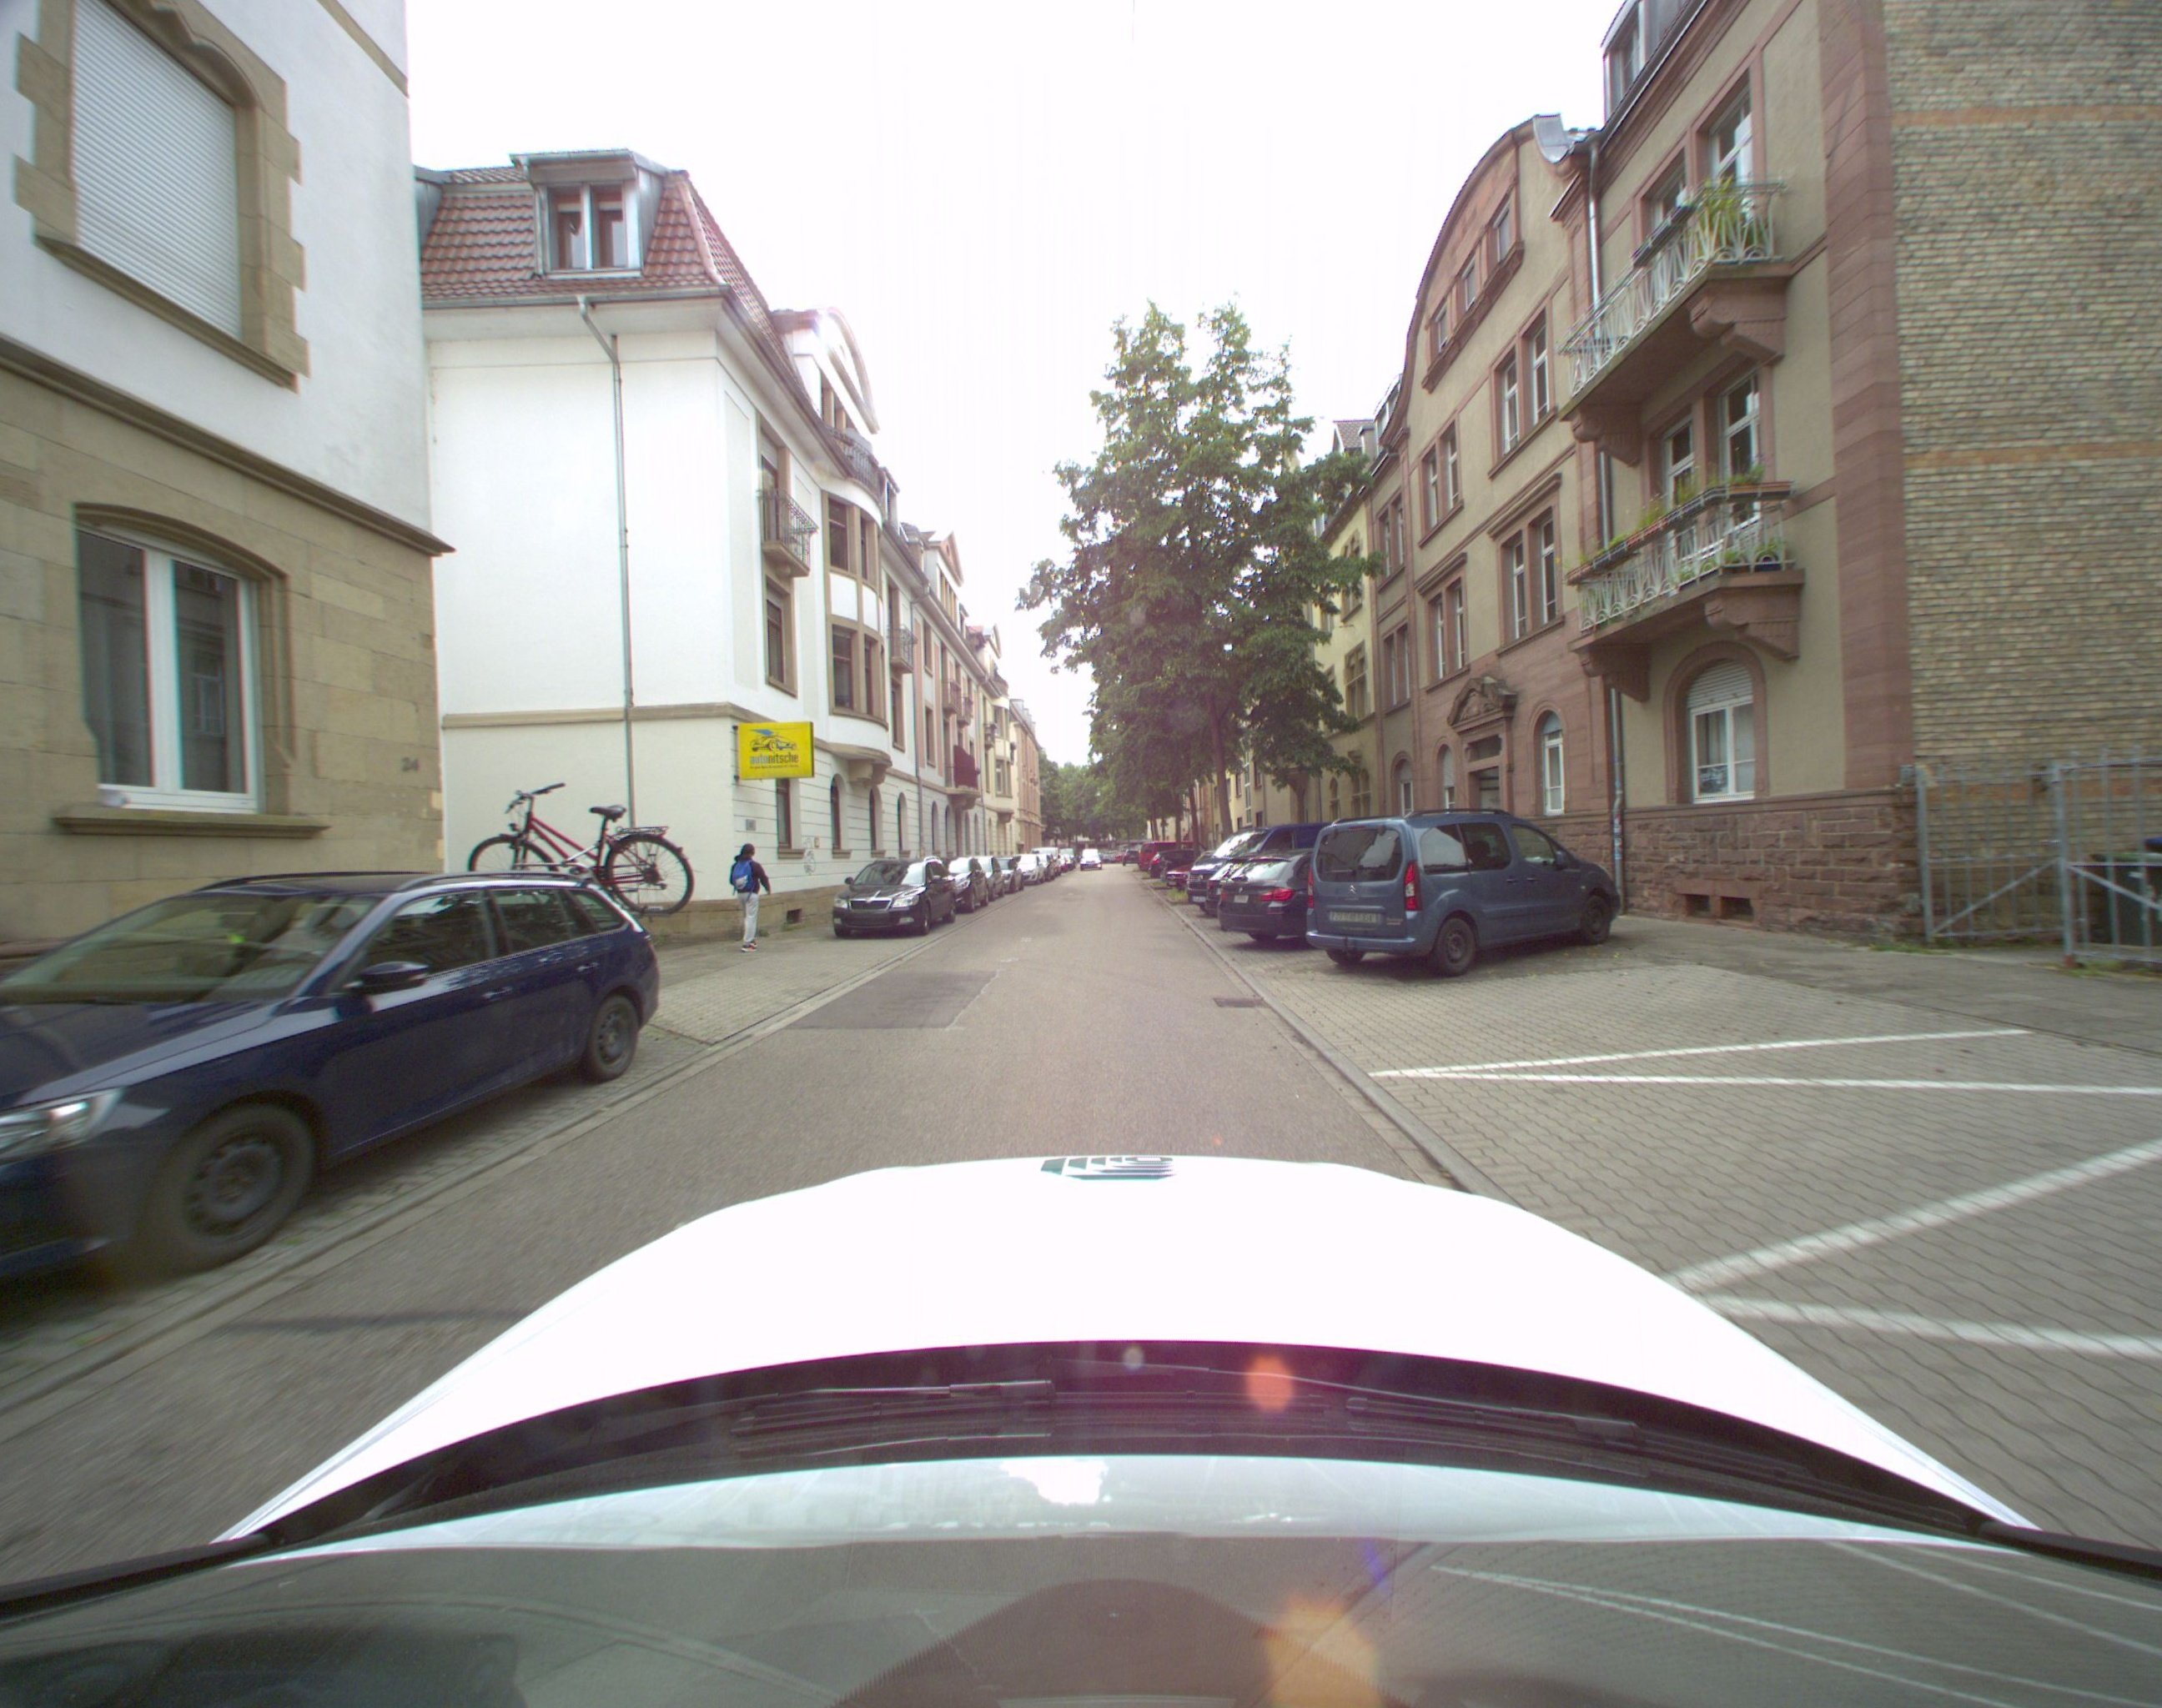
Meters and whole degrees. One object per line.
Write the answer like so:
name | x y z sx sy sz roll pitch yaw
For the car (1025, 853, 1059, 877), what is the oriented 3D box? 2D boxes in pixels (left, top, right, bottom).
car | -2.383 0.646 50.795 1.779 1.444 3.890 0 0 2

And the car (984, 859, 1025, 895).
car | -2.963 0.847 31.903 1.205 1.309 3.261 0 0 1

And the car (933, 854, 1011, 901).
car | -3.558 0.730 27.319 1.940 1.403 4.001 1 0 1

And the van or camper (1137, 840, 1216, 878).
van or camper | 5.472 0.284 46.656 4.168 2.085 1.936 0 0 -26

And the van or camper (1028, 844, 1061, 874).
van or camper | -2.405 0.330 55.084 1.874 1.967 4.410 0 0 2

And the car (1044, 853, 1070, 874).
car | -1.993 0.774 68.495 1.779 1.455 3.890 -6 0 2

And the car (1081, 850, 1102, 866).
car | 1.127 0.391 83.004 1.900 1.678 4.004 0 0 3

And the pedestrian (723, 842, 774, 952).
pedestrian | -5.376 0.681 13.184 0.543 1.740 0.656 0 0 0

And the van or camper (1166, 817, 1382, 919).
van or camper | 4.550 0.281 19.051 4.804 2.137 2.036 0 0 -29

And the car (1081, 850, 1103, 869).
car | 0.995 0.441 71.784 1.814 1.645 3.755 0 0 1

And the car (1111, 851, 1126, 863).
car | 5.100 0.385 111.073 1.863 1.530 4.001 0 0 1

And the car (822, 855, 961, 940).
car | -3.698 0.779 16.631 1.783 1.480 4.023 -1 0 1

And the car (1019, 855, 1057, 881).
car | -2.379 0.734 45.599 1.779 1.374 3.509 1 0 2

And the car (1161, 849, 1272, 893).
car | 4.896 0.612 29.664 3.702 1.408 1.573 -2 0 -4

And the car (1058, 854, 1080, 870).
car | -1.040 0.705 73.594 1.779 1.374 3.890 0 0 2

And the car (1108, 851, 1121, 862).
car | 4.756 0.352 116.490 1.863 1.628 4.001 0 0 1

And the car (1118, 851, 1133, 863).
car | 5.747 0.439 106.323 1.863 1.530 3.841 0 0 1

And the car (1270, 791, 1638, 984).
car | 4.721 0.312 10.268 4.196 1.869 1.982 -4 -1 -28

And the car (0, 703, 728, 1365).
car | -4.197 0.546 4.745 1.986 2.013 4.893 0 0 2

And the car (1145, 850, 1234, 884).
car | 4.883 0.580 37.017 3.753 1.465 1.727 0 0 -4

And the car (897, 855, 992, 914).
car | -3.590 0.759 22.034 1.822 1.426 3.802 1 0 1

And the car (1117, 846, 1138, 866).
car | 4.775 0.206 83.603 1.986 2.013 4.001 1 0 1

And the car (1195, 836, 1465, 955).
car | 4.037 0.567 13.115 4.035 1.559 1.867 -2 0 -29

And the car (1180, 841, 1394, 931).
car | 4.111 0.574 16.166 3.883 1.499 1.786 -2 0 -27

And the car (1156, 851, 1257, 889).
car | 5.002 0.635 32.811 3.753 1.465 1.727 0 0 -4

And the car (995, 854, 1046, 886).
car | -2.872 0.728 39.392 1.986 1.475 4.002 0 0 2
